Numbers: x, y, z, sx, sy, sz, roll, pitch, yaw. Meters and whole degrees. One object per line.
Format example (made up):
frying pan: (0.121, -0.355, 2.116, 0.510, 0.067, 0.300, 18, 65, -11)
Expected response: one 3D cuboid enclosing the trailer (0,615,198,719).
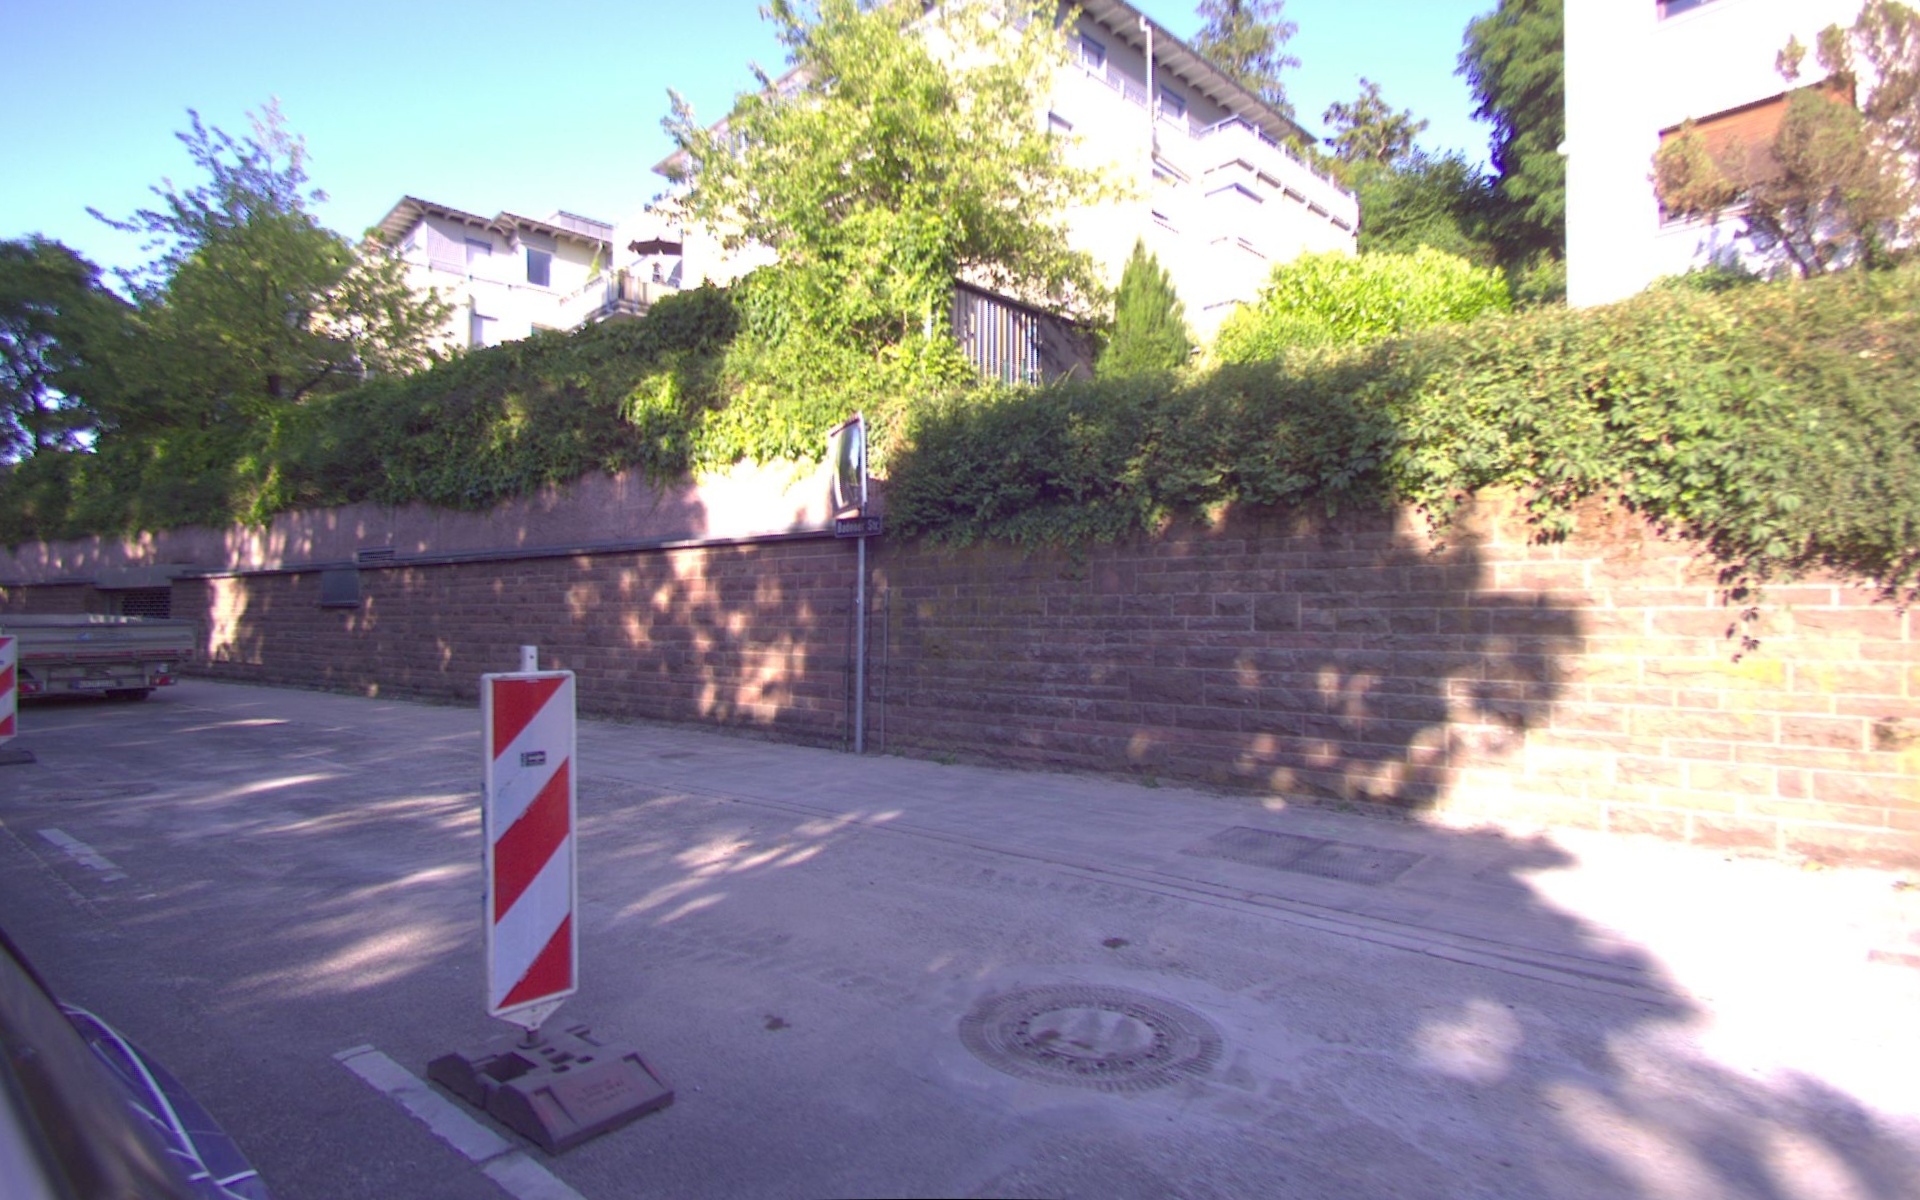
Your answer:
trailer: (-16.437, 1.034, 17.867, 7.099, 1.500, 2.618, -1, -1, 34)
